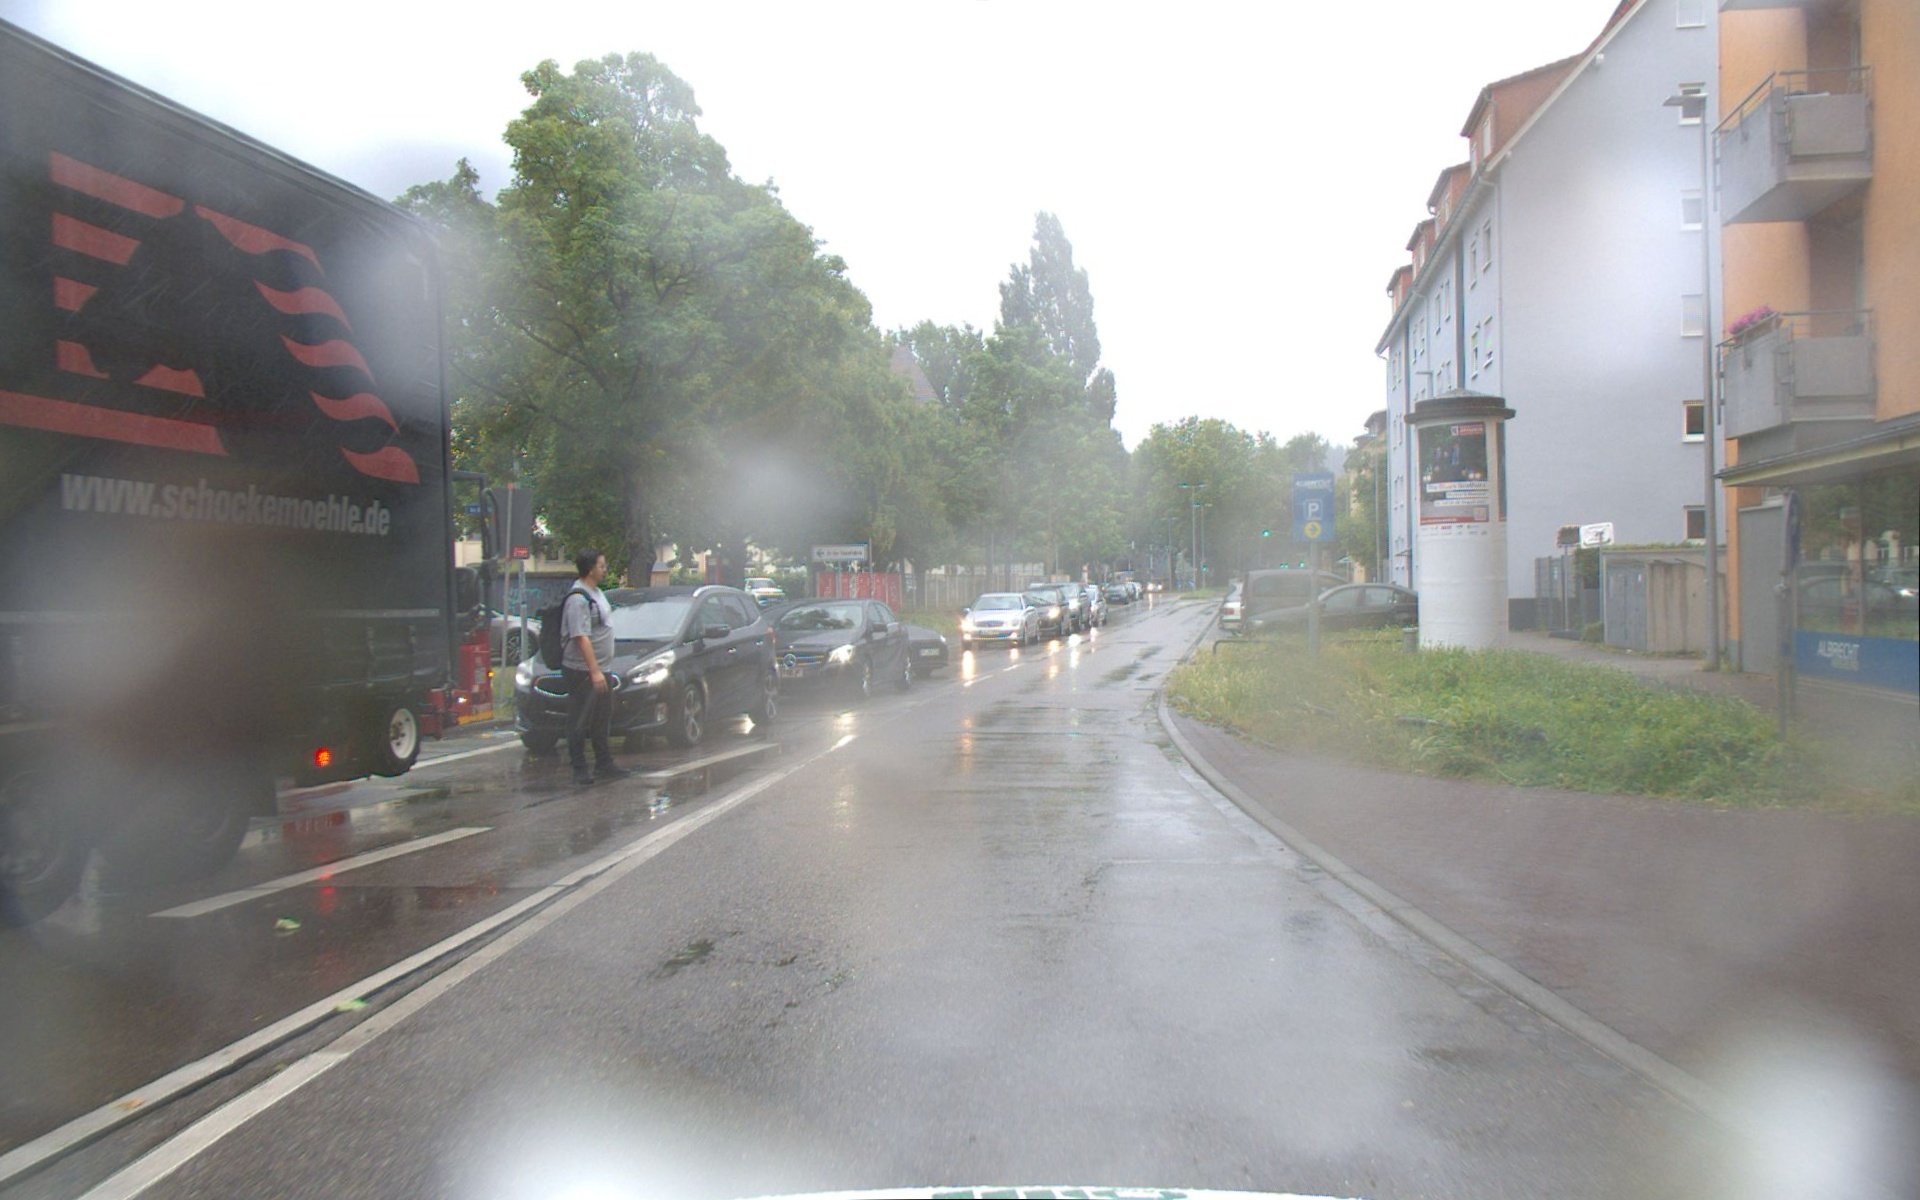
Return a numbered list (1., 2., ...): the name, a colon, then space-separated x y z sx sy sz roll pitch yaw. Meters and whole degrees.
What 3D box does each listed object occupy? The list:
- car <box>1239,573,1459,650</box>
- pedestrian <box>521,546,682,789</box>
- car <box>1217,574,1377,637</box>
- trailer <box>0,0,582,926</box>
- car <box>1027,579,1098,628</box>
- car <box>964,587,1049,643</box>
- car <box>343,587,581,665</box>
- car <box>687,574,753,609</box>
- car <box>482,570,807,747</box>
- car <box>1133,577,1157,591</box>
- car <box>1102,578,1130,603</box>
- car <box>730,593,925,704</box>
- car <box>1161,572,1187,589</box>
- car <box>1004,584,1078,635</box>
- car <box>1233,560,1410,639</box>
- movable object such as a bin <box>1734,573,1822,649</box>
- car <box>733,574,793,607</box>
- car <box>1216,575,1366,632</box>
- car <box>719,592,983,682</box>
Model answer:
1. car: 8.266 0.247 35.518 4.436 1.496 1.985 -1 0 10
2. pedestrian: -2.917 0.519 13.452 0.975 1.875 0.865 -1 1 45
3. car: 9.017 0.136 44.528 4.100 1.595 1.890 -1 0 8
4. trailer: -5.978 -0.623 5.894 3.368 4.119 15.065 -1 1 10
5. car: 3.671 0.098 58.401 1.873 1.668 4.826 0 0 11
6. car: 1.306 0.374 44.518 1.737 1.428 4.834 0 0 8
7. car: -9.608 0.477 31.873 4.263 1.419 2.000 0 0 -21
8. car: -11.879 -0.414 81.782 1.972 1.585 3.962 -1 0 -29
9. car: -3.222 0.604 18.021 1.827 1.648 4.806 -1 -1 11
10. car: 22.038 -1.879 196.849 1.709 1.718 3.989 0 0 -12
11. car: 10.891 -0.672 115.521 1.738 1.556 4.002 0 2 3
12. car: -1.830 0.652 24.339 1.689 1.384 4.341 -2 1 11
13. car: 25.355 -2.325 196.355 1.957 2.049 3.991 -1 1 -9
14. car: 2.575 0.267 51.640 1.741 1.445 4.269 -1 1 10
15. car: 9.102 -0.020 41.920 4.142 1.836 1.946 -2 0 6
16. movable object such as a bin: 15.684 0.198 31.741 1.173 1.406 1.219 -1 0 8
17. car: -9.892 -0.446 82.868 1.822 1.600 3.967 0 -1 -25
18. car: 9.379 0.099 47.119 4.092 1.599 1.892 0 0 9
19. car: -2.065 0.650 30.407 4.841 1.479 2.074 -1 1 42
